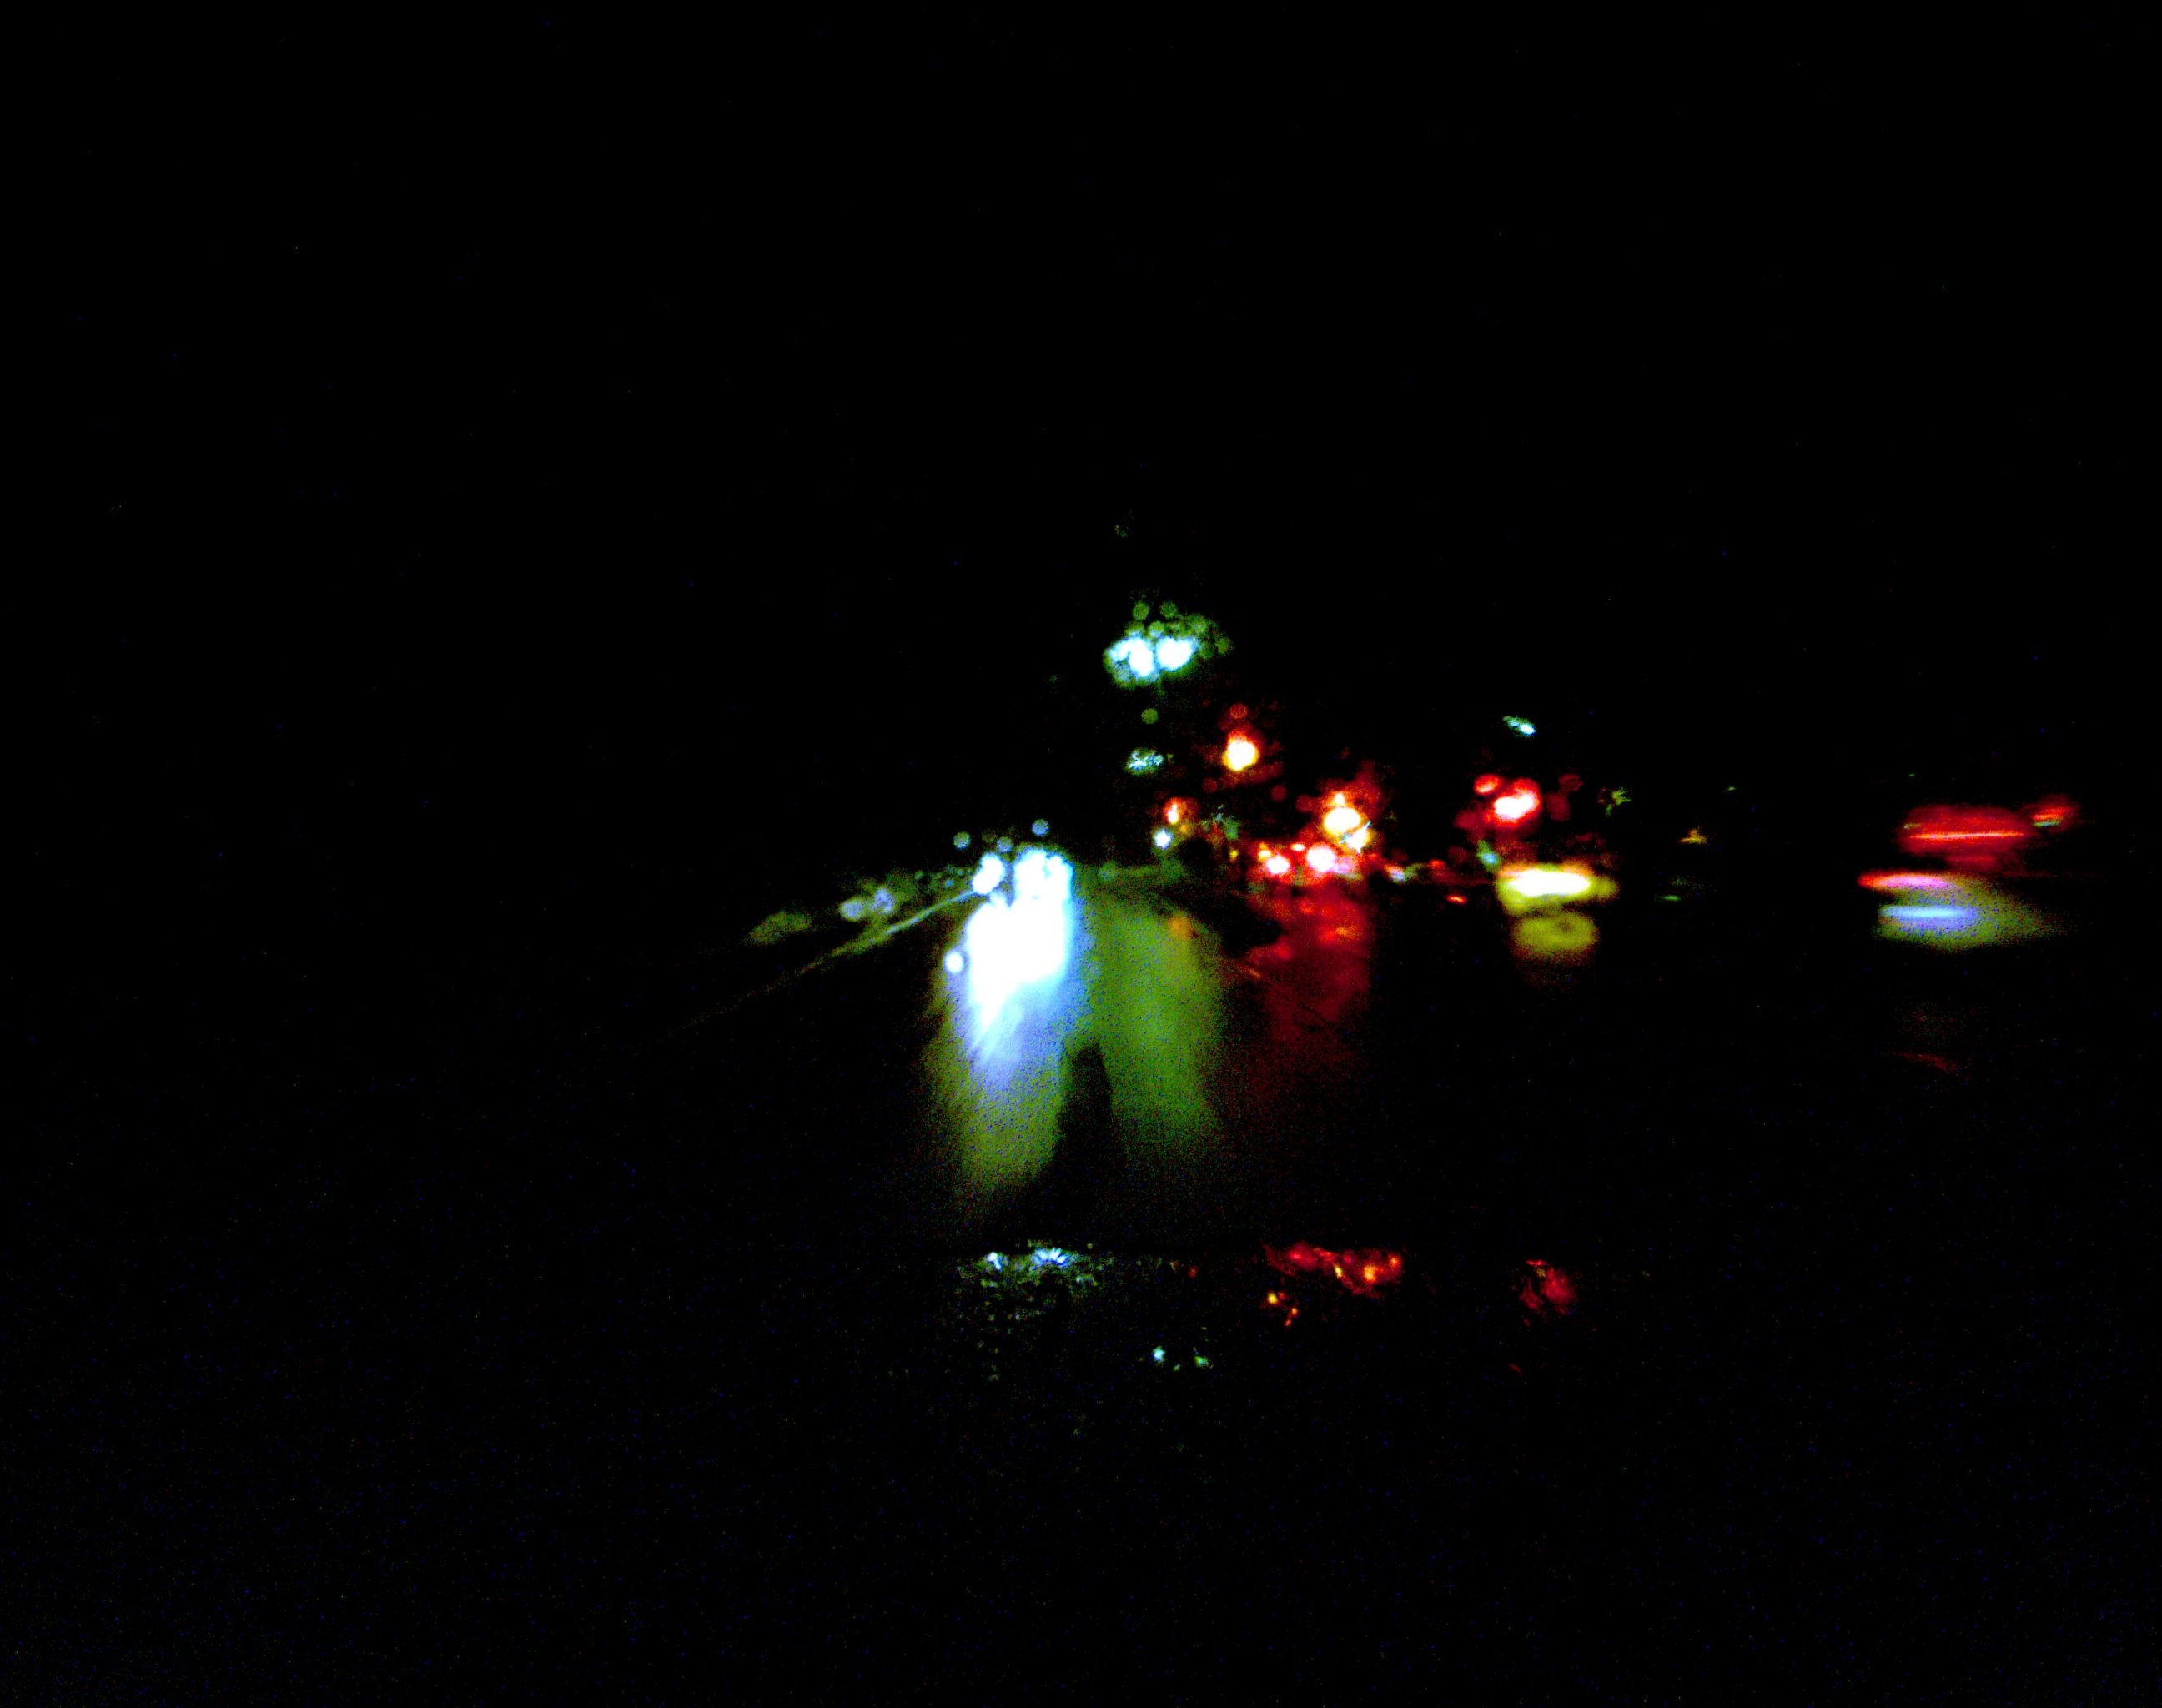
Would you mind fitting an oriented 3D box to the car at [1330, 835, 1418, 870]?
[{"bbox_3d":[16.766,-0.056,43.495,4.513,1.833,2.003,-2,1,23],"label":"car"}]

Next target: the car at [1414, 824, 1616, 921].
[{"bbox_3d":[9.115,0.322,16.493,1.998,1.736,4.499,-3,1,4],"label":"car"}]

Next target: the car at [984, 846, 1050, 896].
[{"bbox_3d":[-2.277,0.551,28.170,1.878,1.579,4.888,-3,1,1],"label":"car"}]

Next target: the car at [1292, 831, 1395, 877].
[{"bbox_3d":[10.235,-0.026,30.149,2.364,1.547,5.159,-3,1,1],"label":"car"}]

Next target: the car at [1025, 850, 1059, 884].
[{"bbox_3d":[-2.303,0.710,45.753,1.794,1.802,4.197,-3,1,0],"label":"car"}]

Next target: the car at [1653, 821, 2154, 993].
[{"bbox_3d":[9.000,0.481,8.889,1.970,1.520,3.688,-3,1,4],"label":"car"}]

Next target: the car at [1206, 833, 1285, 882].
[{"bbox_3d":[6.340,0.071,29.839,1.998,1.688,5.011,-3,1,1],"label":"car"}]

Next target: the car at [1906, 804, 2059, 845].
[{"bbox_3d":[39.754,-1.280,33.604,2.002,1.582,3.991,-3,1,-28],"label":"car"}]

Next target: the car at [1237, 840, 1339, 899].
[{"bbox_3d":[6.338,0.394,23.827,1.962,1.562,4.466,-3,1,1],"label":"car"}]

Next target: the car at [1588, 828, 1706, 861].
[{"bbox_3d":[28.214,-0.475,38.068,4.493,1.357,1.669,-3,1,28],"label":"car"}]

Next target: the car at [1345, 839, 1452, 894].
[{"bbox_3d":[9.613,0.324,23.311,1.827,1.444,3.601,-3,1,2],"label":"car"}]

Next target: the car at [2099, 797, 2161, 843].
[{"bbox_3d":[41.537,-1.318,28.001,1.852,1.683,4.442,-3,1,-16],"label":"car"}]
